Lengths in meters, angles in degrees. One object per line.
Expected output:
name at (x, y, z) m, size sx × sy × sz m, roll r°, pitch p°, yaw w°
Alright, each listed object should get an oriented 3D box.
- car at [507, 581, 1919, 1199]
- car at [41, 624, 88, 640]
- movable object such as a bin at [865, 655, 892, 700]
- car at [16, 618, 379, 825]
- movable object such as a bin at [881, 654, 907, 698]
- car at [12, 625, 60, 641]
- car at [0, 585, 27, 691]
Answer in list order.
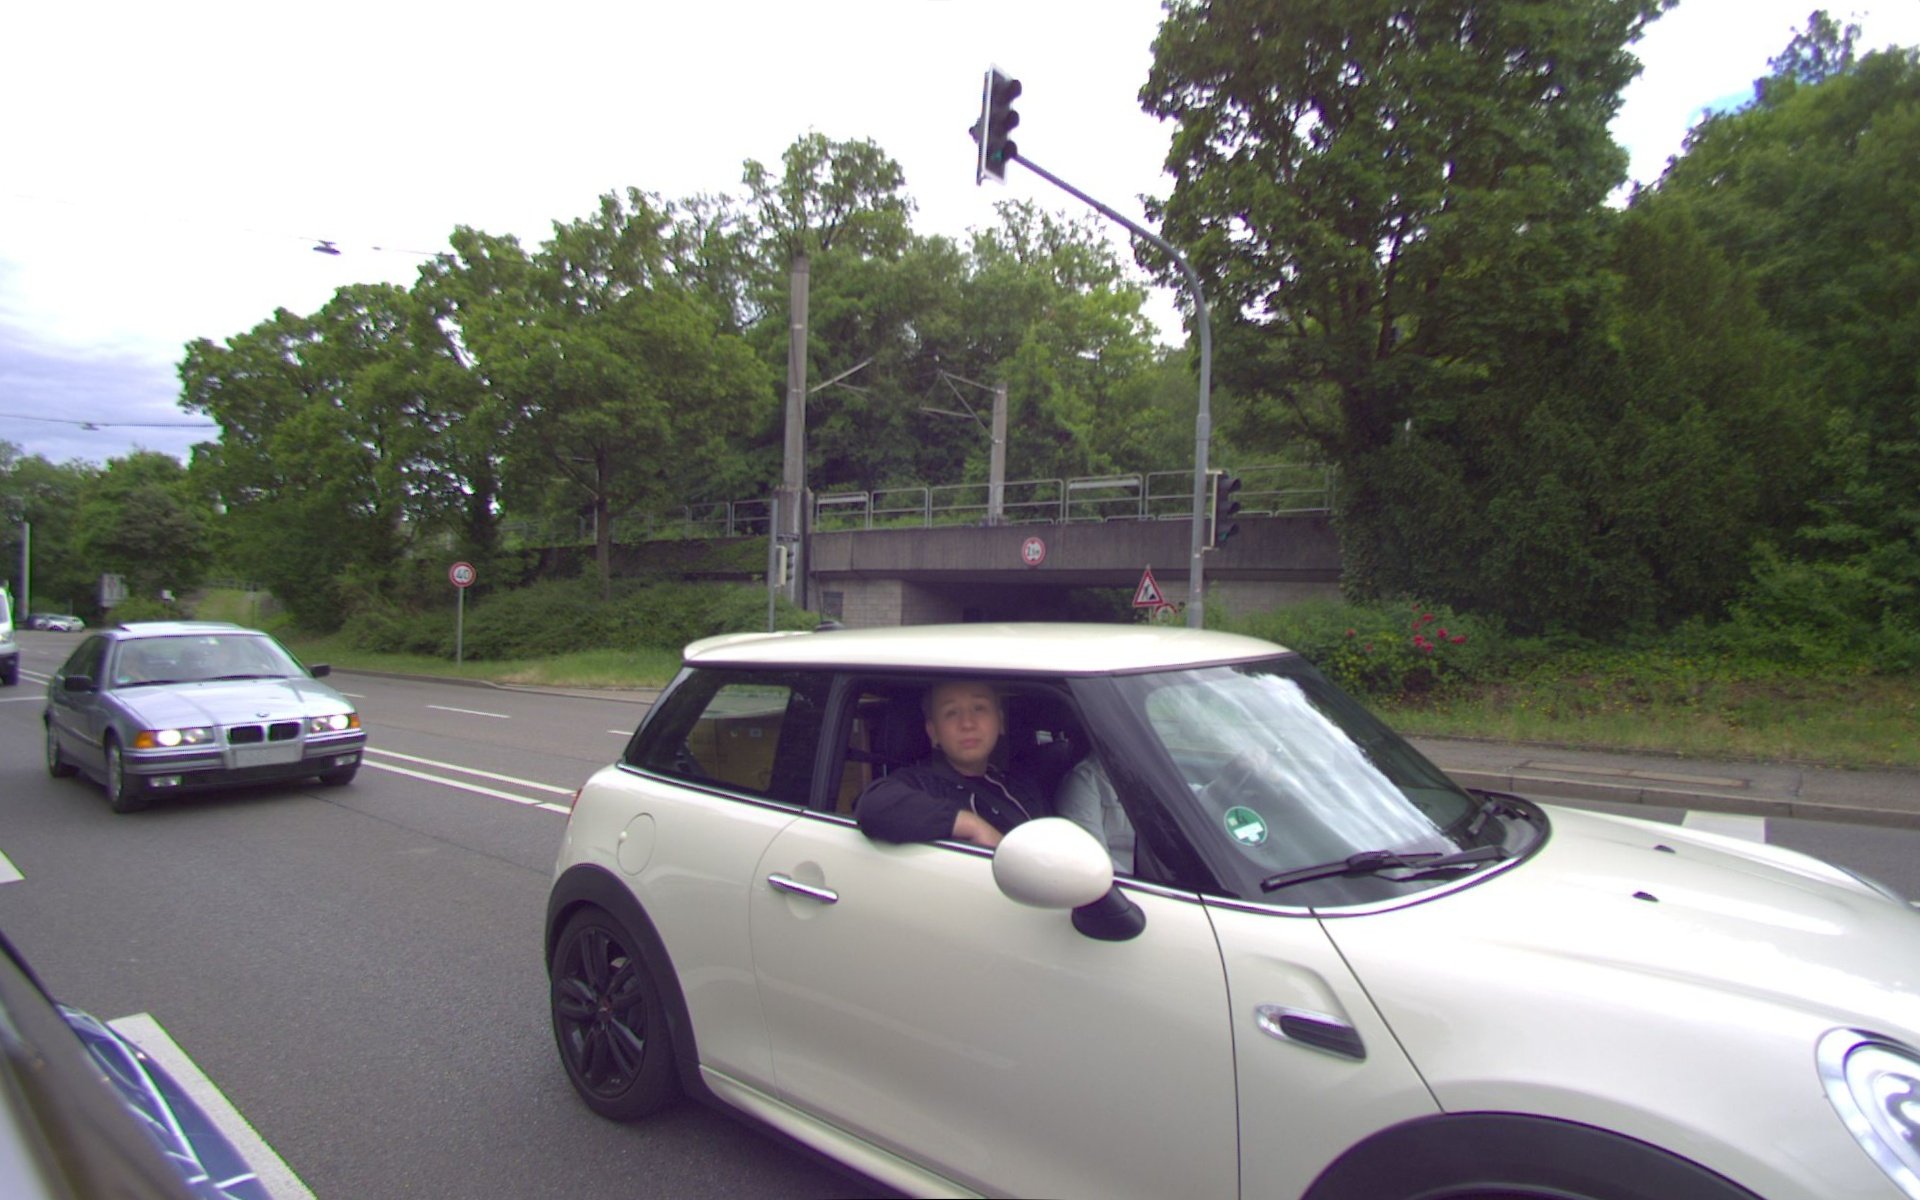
car at (0.560, 0.721, 2.575) m, size 3.729 × 1.434 × 1.667 m, roll -1°, pitch -1°, yaw 40°
car at (-85.437, 3.065, 96.617) m, size 1.727 × 1.372 × 4.022 m, roll 4°, pitch -4°, yaw -17°
movable object such as a bin at (-2.007, 1.883, 24.825) m, size 0.503 × 1.071 × 0.414 m, roll -1°, pitch -3°, yaw 36°
car at (-6.819, 0.870, 8.889) m, size 4.179 × 1.401 × 1.643 m, roll -1°, pitch -1°, yaw 40°
movable object such as a bin at (-1.652, 1.904, 25.401) m, size 0.503 × 1.071 × 0.414 m, roll -1°, pitch -3°, yaw 36°
car at (-89.824, 3.204, 98.441) m, size 1.727 × 1.372 × 4.022 m, roll 4°, pitch -4°, yaw -16°
car at (-23.000, 0.834, 22.743) m, size 6.454 × 2.217 × 2.256 m, roll -1°, pitch -1°, yaw 41°
